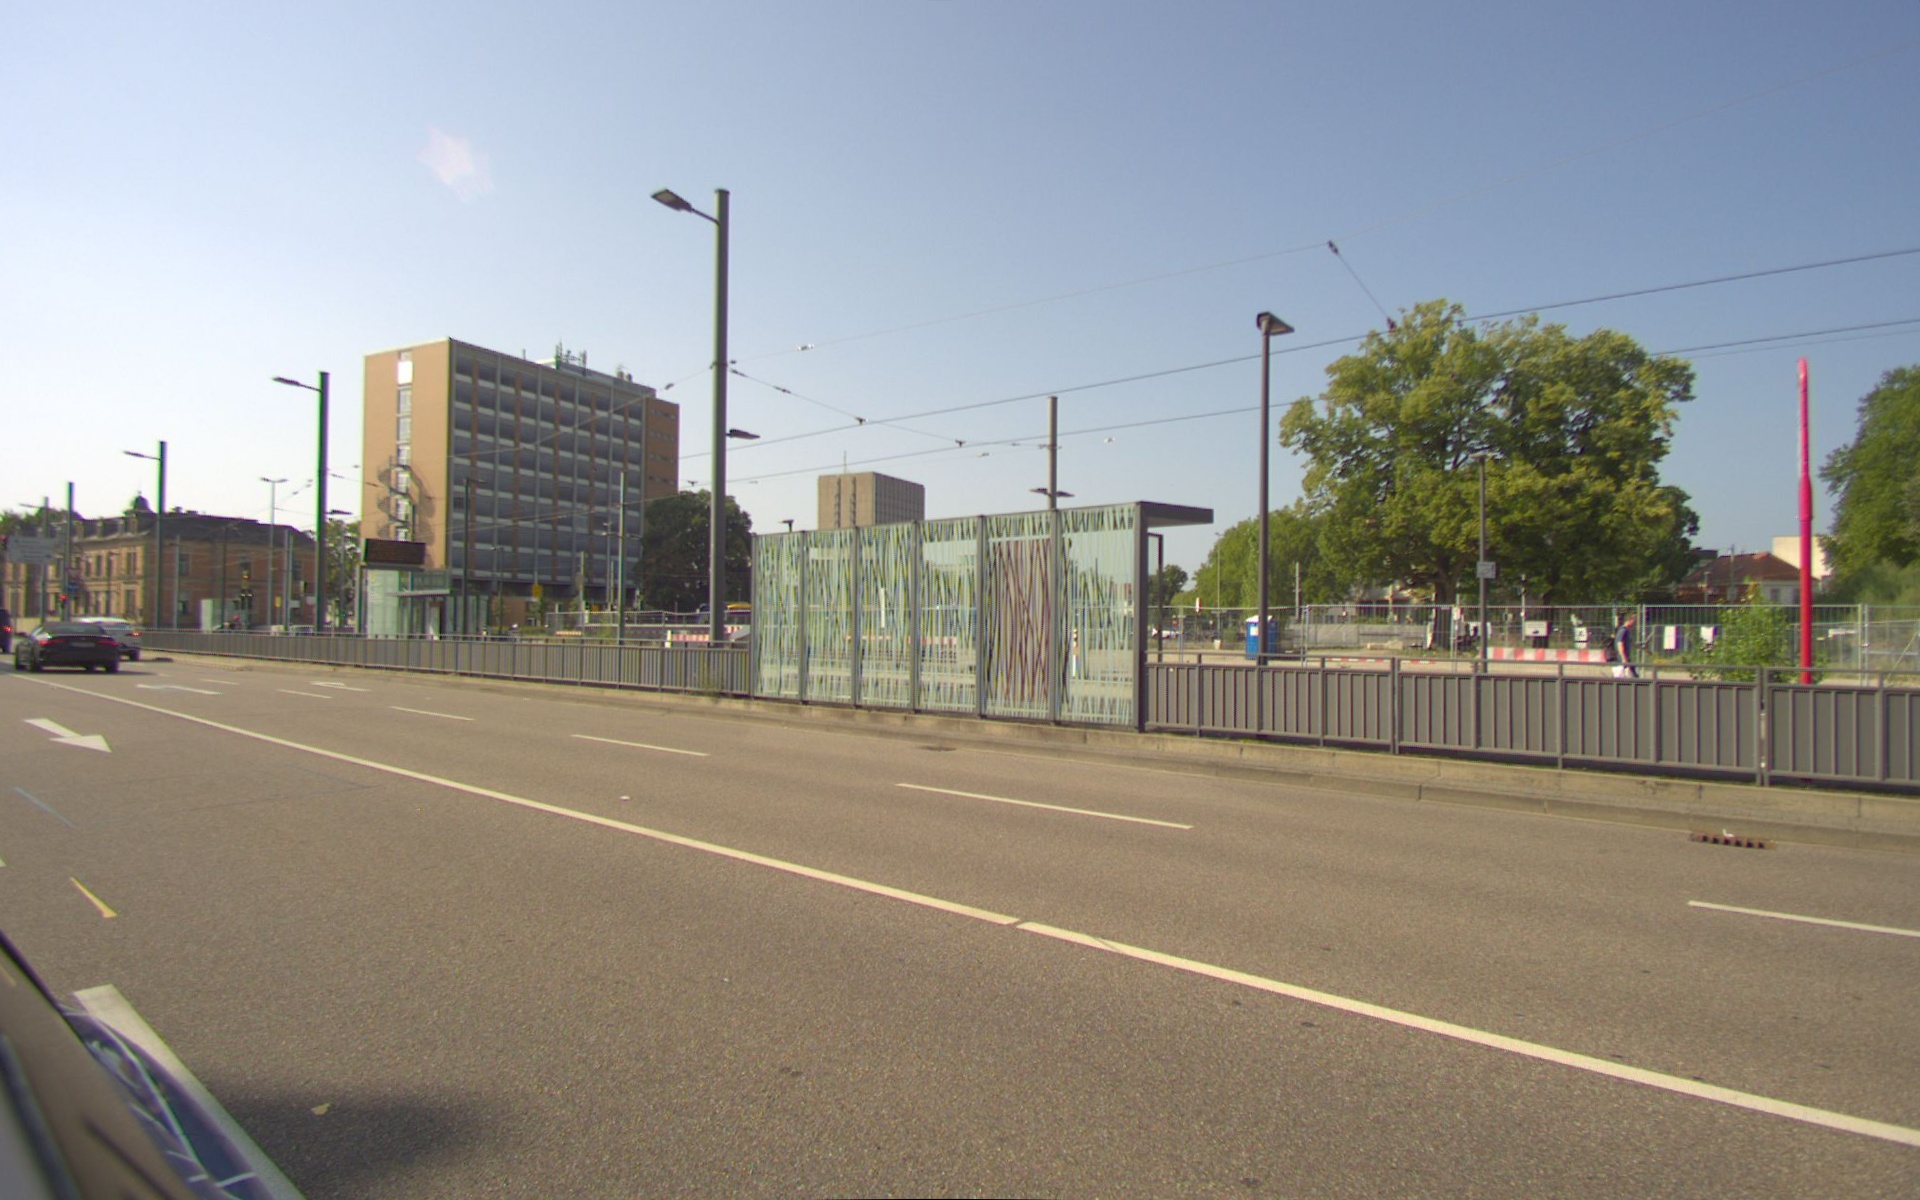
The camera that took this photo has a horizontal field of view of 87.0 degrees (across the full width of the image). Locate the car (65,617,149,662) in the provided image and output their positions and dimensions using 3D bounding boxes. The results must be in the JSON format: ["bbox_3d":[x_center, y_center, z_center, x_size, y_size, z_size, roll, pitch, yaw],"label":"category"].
[{"bbox_3d":[-32.864,1.519,38.972,4.501,1.624,1.695,-1,-4,40],"label":"car"}]

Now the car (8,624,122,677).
[{"bbox_3d":[-24.893,1.373,28.104,4.517,1.341,1.695,-1,-4,40],"label":"car"}]

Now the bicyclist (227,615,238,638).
[{"bbox_3d":[-53.199,1.937,73.965,0.579,1.669,0.792,2,-3,-38],"label":"bicyclist"}]

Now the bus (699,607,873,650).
[{"bbox_3d":[-13.458,2.246,78.968,13.110,3.203,3.229,1,-2,-6],"label":"bus"}]

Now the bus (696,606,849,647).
[{"bbox_3d":[-16.467,2.392,89.668,13.111,3.445,3.229,1,-2,-6],"label":"bus"}]

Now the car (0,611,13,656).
[{"bbox_3d":[-43.132,1.420,44.204,4.713,1.919,1.973,-1,-4,40],"label":"car"}]

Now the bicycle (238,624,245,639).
[{"bbox_3d":[-54.721,2.416,77.086,0.371,1.174,1.864,1,-3,-34],"label":"bicycle"}]

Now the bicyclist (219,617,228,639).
[{"bbox_3d":[-55.042,2.115,75.617,0.503,1.642,0.809,1,-3,-35],"label":"bicyclist"}]

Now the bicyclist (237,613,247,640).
[{"bbox_3d":[-54.706,2.031,77.136,0.571,1.989,0.809,1,-3,-35],"label":"bicyclist"}]

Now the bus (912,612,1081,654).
[{"bbox_3d":[2.837,2.665,80.763,13.110,3.203,3.229,1,-2,-6],"label":"bus"}]

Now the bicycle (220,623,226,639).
[{"bbox_3d":[-55.101,2.354,75.650,0.306,1.174,1.503,1,-3,-34],"label":"bicycle"}]

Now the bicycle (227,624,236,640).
[{"bbox_3d":[-53.224,2.341,73.966,0.396,1.118,1.750,2,-3,-39],"label":"bicycle"}]

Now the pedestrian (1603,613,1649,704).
[{"bbox_3d":[12.832,1.118,19.505,0.664,1.713,0.512,-1,-3,40],"label":"pedestrian"}]
